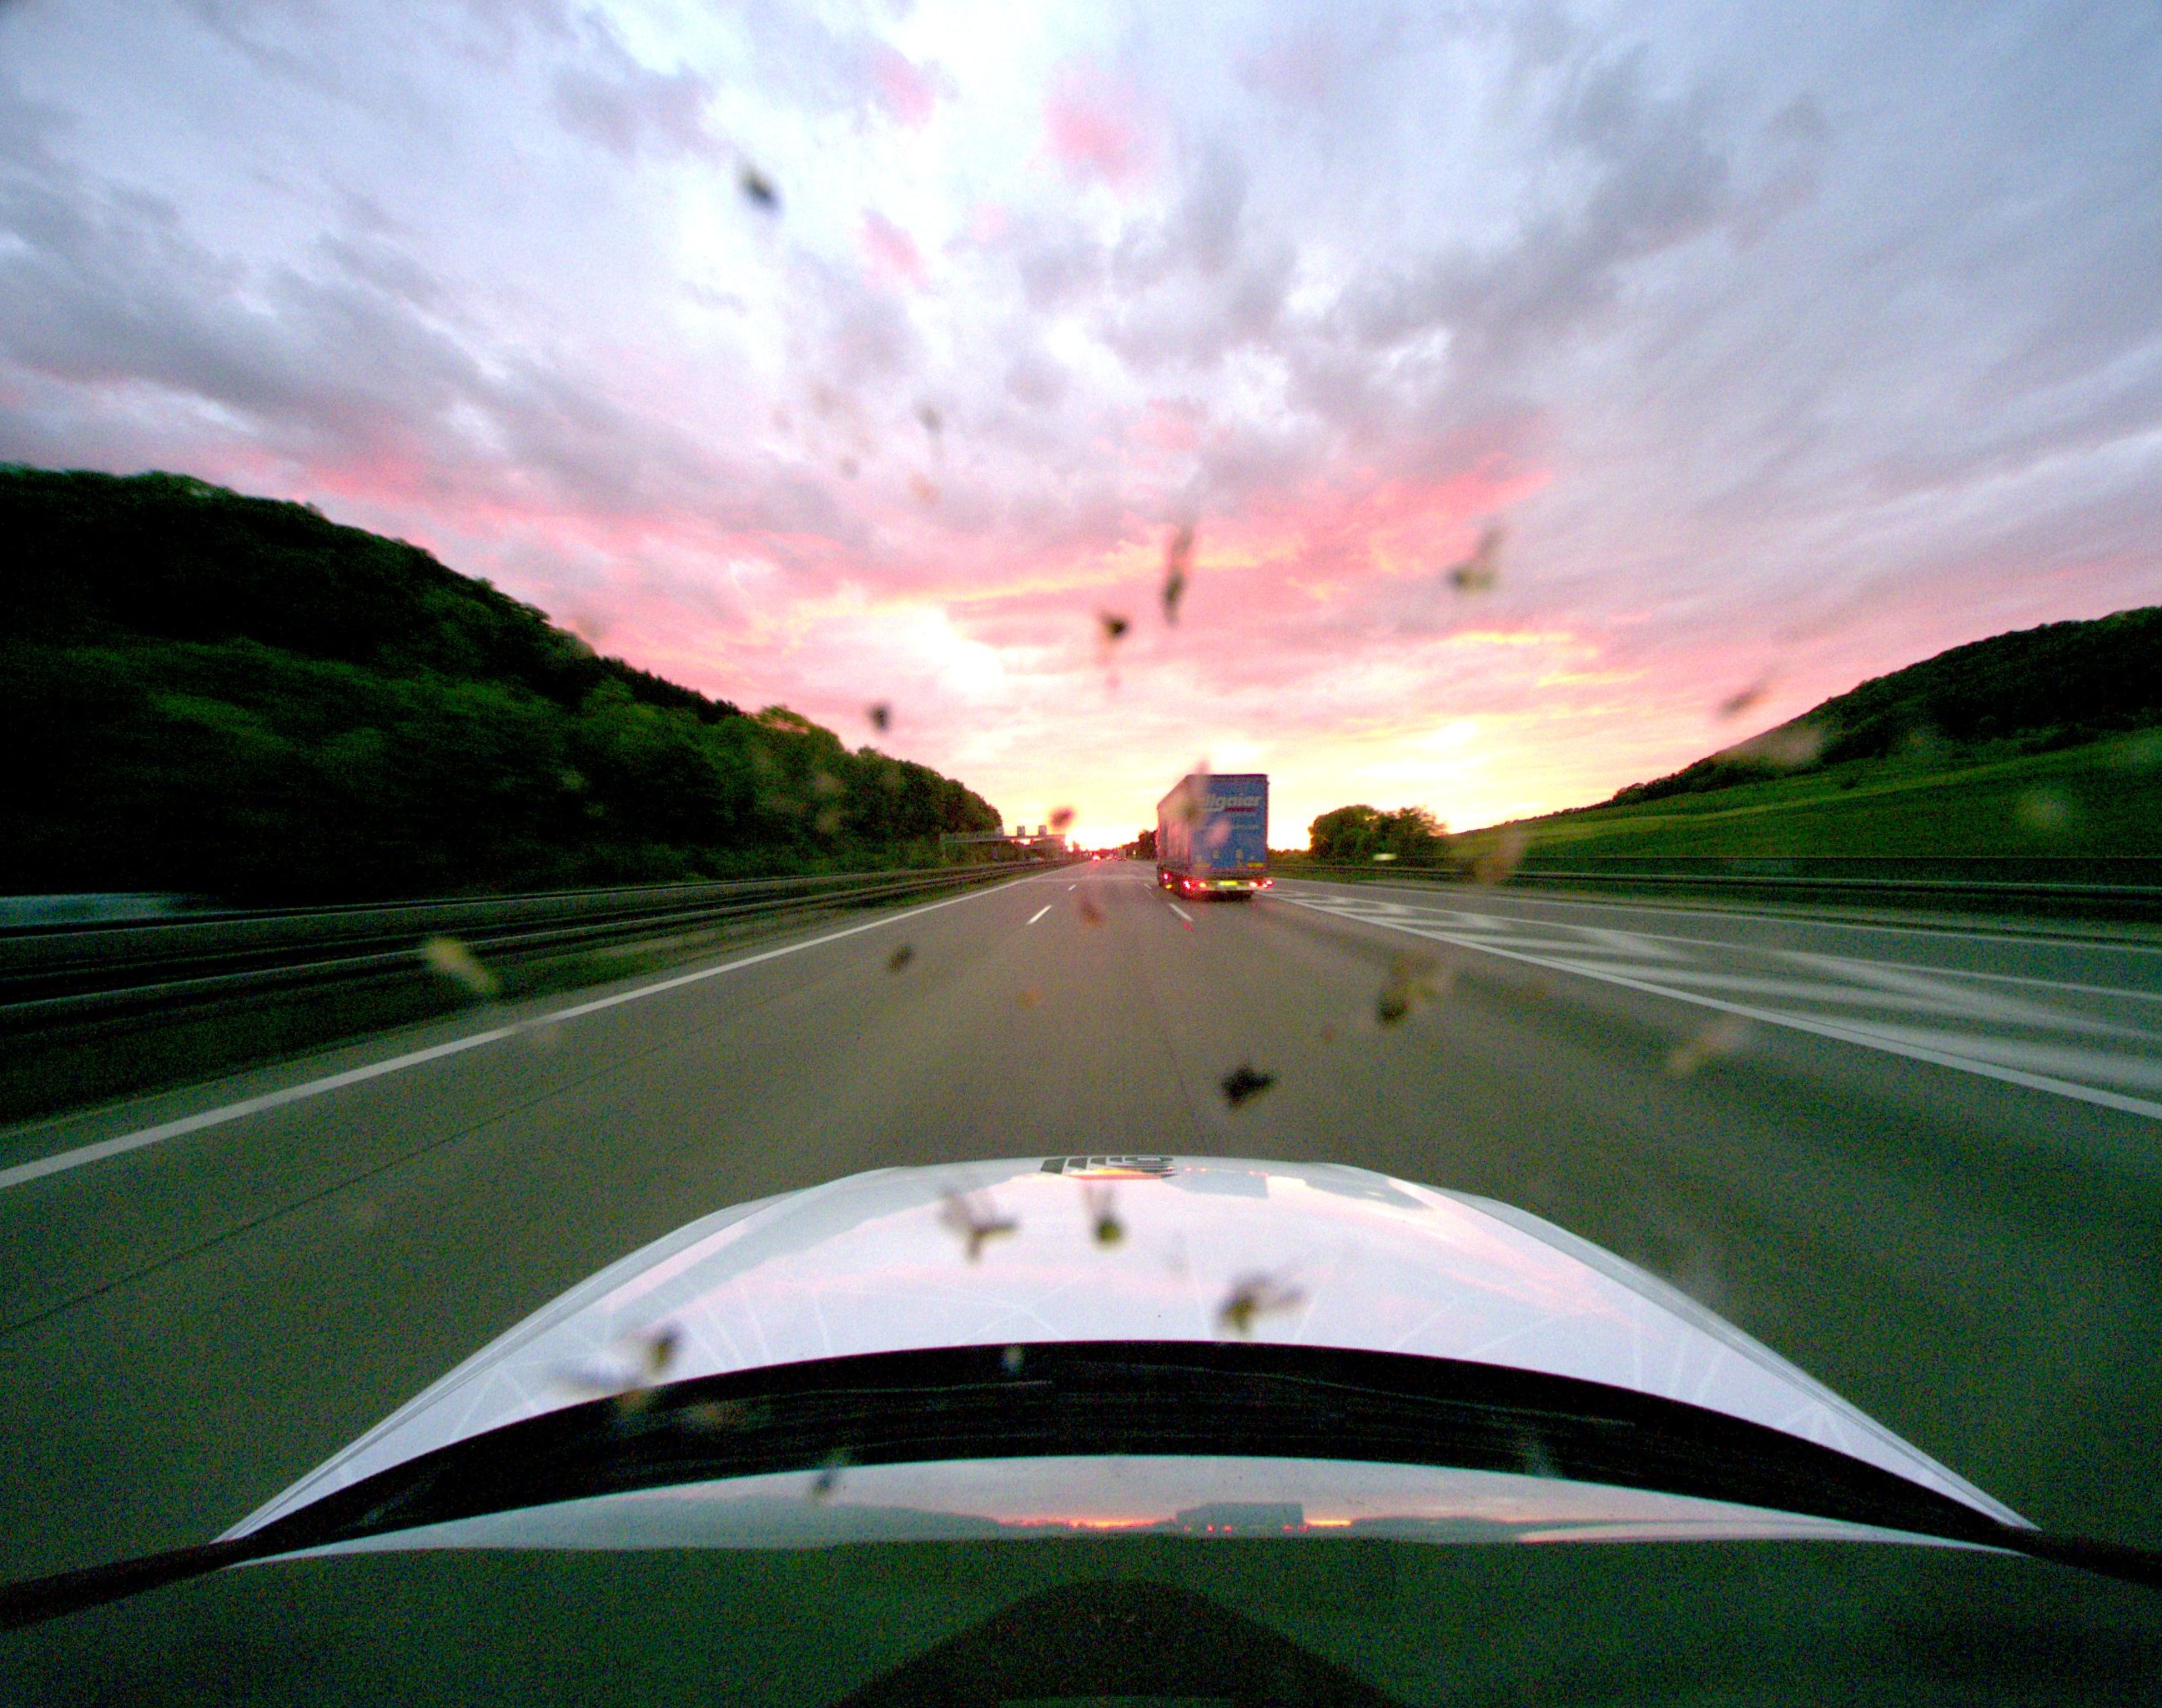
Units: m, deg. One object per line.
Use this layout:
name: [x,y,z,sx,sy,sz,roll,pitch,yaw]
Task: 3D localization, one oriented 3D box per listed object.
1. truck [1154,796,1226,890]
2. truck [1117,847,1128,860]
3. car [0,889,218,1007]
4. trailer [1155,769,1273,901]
truck: [4.966,-0.462,38.178,2.726,3.996,5.851,-1,0,2]
truck: [13.387,-0.053,261.277,3.231,4.127,9.795,-2,-1,3]
car: [-16.593,1.453,12.468,1.723,1.586,4.646,-1,0,1]
trailer: [4.783,-0.542,32.325,2.761,4.086,13.743,-1,0,2]
